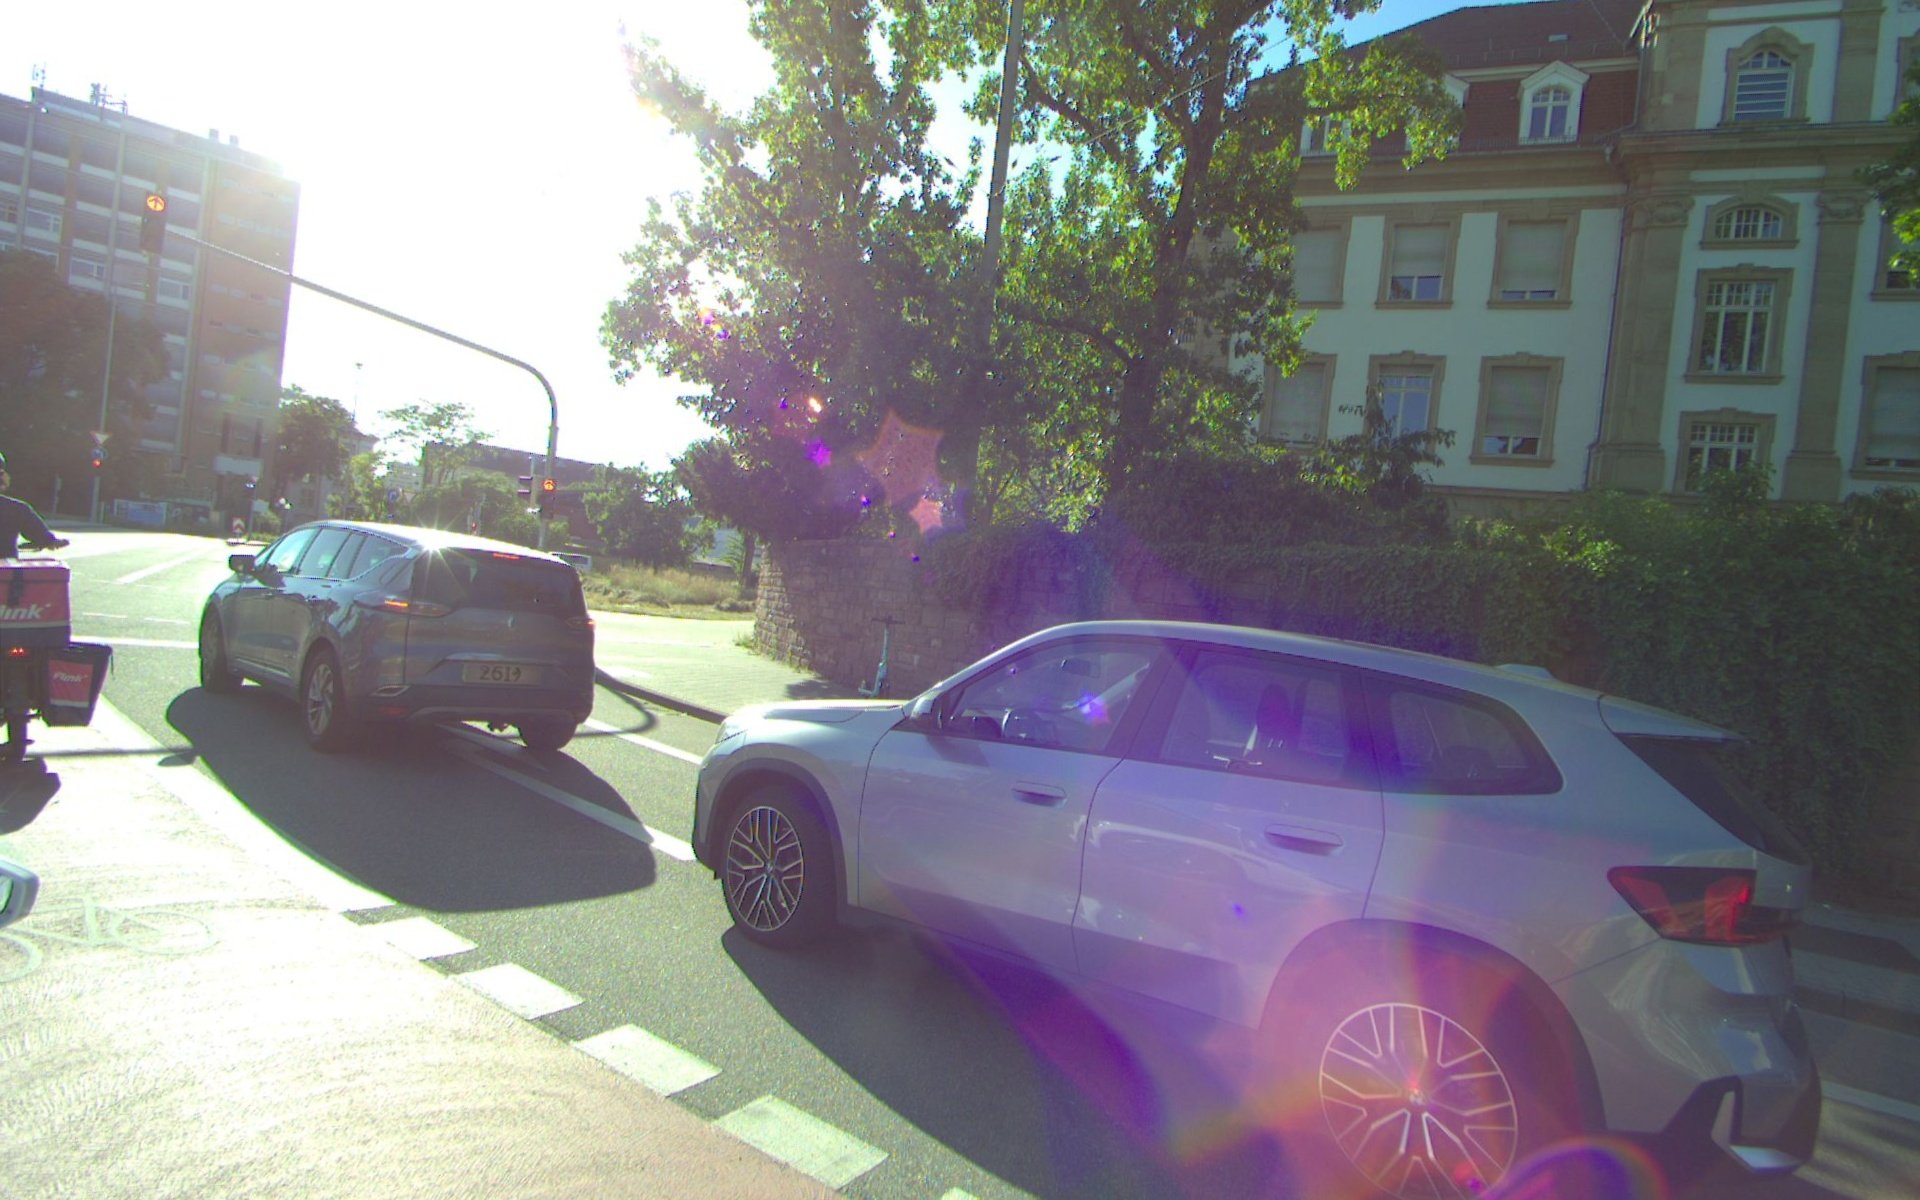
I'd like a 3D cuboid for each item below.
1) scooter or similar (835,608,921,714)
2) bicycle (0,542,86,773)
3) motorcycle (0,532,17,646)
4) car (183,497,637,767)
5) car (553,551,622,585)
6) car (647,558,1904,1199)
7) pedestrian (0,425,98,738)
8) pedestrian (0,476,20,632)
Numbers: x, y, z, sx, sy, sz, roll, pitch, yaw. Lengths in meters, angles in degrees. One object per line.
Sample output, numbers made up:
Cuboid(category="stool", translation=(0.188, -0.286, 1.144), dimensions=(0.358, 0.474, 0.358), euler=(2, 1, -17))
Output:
Cuboid(category="scooter or similar", translation=(-1.153, 0.820, 13.880), dimensions=(0.569, 1.285, 1.414), euler=(6, 0, -27))
Cuboid(category="bicycle", translation=(-5.989, 0.257, 6.177), dimensions=(2.340, 1.185, 0.553), euler=(6, -2, 42))
Cuboid(category="motorcycle", translation=(-8.933, -0.081, 8.920), dimensions=(0.611, 1.110, 2.334), euler=(8, -2, -41))
Cuboid(category="car", translation=(-4.835, 0.164, 8.554), dimensions=(4.307, 1.709, 1.830), euler=(6, -2, 40))
Cuboid(category="car", translation=(-28.812, -2.467, 77.769), dimensions=(4.652, 1.969, 1.901), euler=(7, 0, -29))
Cuboid(category="car", translation=(0.828, 0.883, 4.241), dimensions=(4.263, 1.612, 1.788), euler=(6, -2, 37))
Cuboid(category="pedestrian", translation=(-6.214, -0.145, 6.392), dimensions=(0.943, 1.890, 0.806), euler=(6, -1, 40))
Cuboid(category="pedestrian", translation=(-8.709, -0.300, 8.746), dimensions=(0.585, 1.617, 1.013), euler=(8, -1, -41))
